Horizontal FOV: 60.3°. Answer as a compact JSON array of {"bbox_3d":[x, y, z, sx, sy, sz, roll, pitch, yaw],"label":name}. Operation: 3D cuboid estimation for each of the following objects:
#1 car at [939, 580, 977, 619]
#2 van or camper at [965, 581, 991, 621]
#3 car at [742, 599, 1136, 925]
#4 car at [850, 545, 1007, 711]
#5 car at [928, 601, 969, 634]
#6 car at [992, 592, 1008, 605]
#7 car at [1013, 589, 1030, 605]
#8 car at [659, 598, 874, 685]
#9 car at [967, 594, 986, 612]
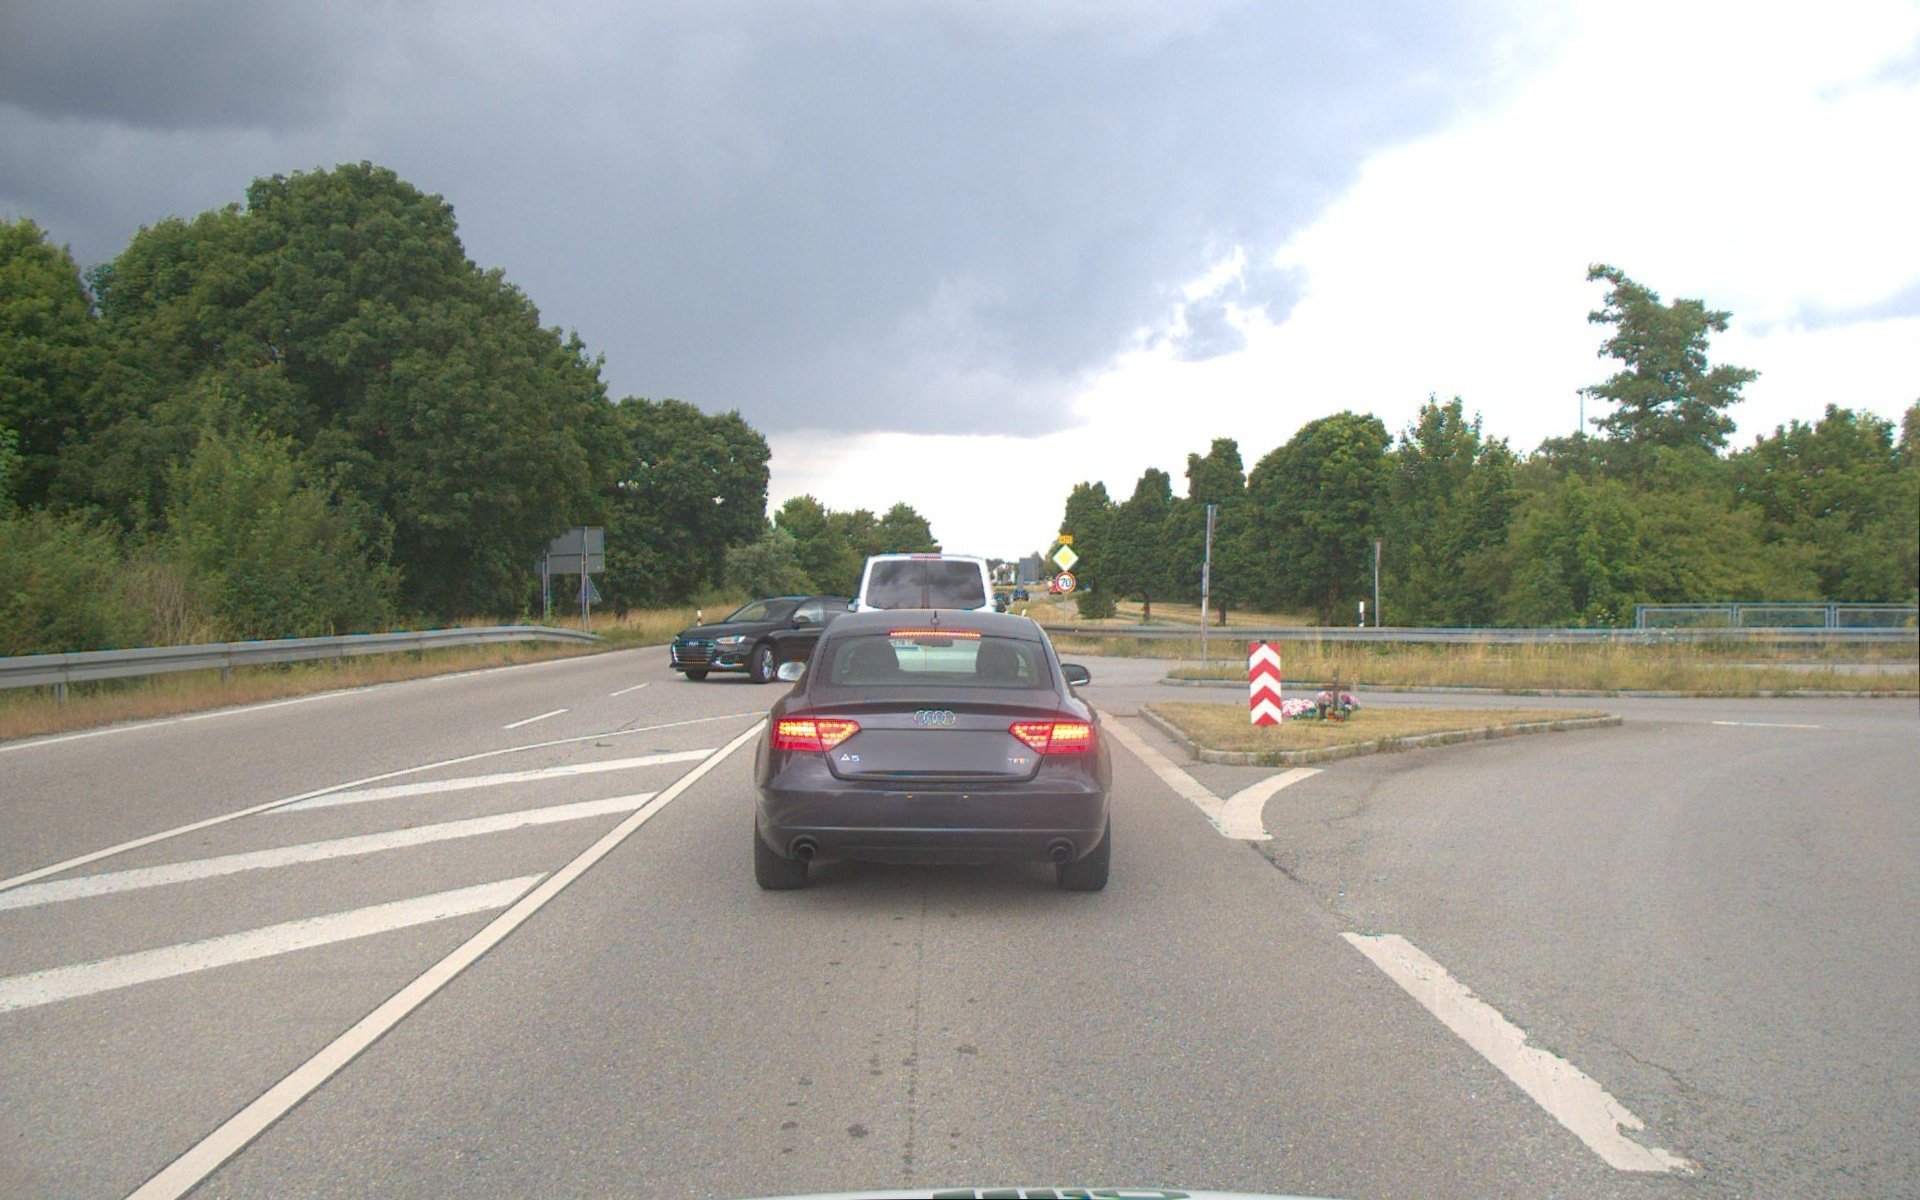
[{"bbox_3d":[-0.080,-0.016,91.180,1.952,2.125,4.001,0,0,2],"label":"car"},{"bbox_3d":[1.664,0.059,148.896,2.292,3.542,5.719,0,0,1],"label":"van or camper"},{"bbox_3d":[-0.121,0.726,9.400,1.746,1.400,3.999,1,0,-1],"label":"car"},{"bbox_3d":[-0.391,0.310,21.282,1.801,1.915,3.999,1,0,-1],"label":"car"},{"bbox_3d":[-0.524,0.821,77.331,1.758,1.489,3.249,0,0,3],"label":"car"},{"bbox_3d":[4.421,-0.163,183.365,1.683,1.477,4.000,1,0,0],"label":"car"},{"bbox_3d":[7.819,-0.425,210.603,1.953,2.049,3.999,0,0,-1],"label":"car"},{"bbox_3d":[-3.294,0.662,29.145,1.783,1.398,4.610,0,0,22],"label":"car"},{"bbox_3d":[1.343,0.237,132.159,1.231,1.377,3.468,0,0,5],"label":"car"}]
